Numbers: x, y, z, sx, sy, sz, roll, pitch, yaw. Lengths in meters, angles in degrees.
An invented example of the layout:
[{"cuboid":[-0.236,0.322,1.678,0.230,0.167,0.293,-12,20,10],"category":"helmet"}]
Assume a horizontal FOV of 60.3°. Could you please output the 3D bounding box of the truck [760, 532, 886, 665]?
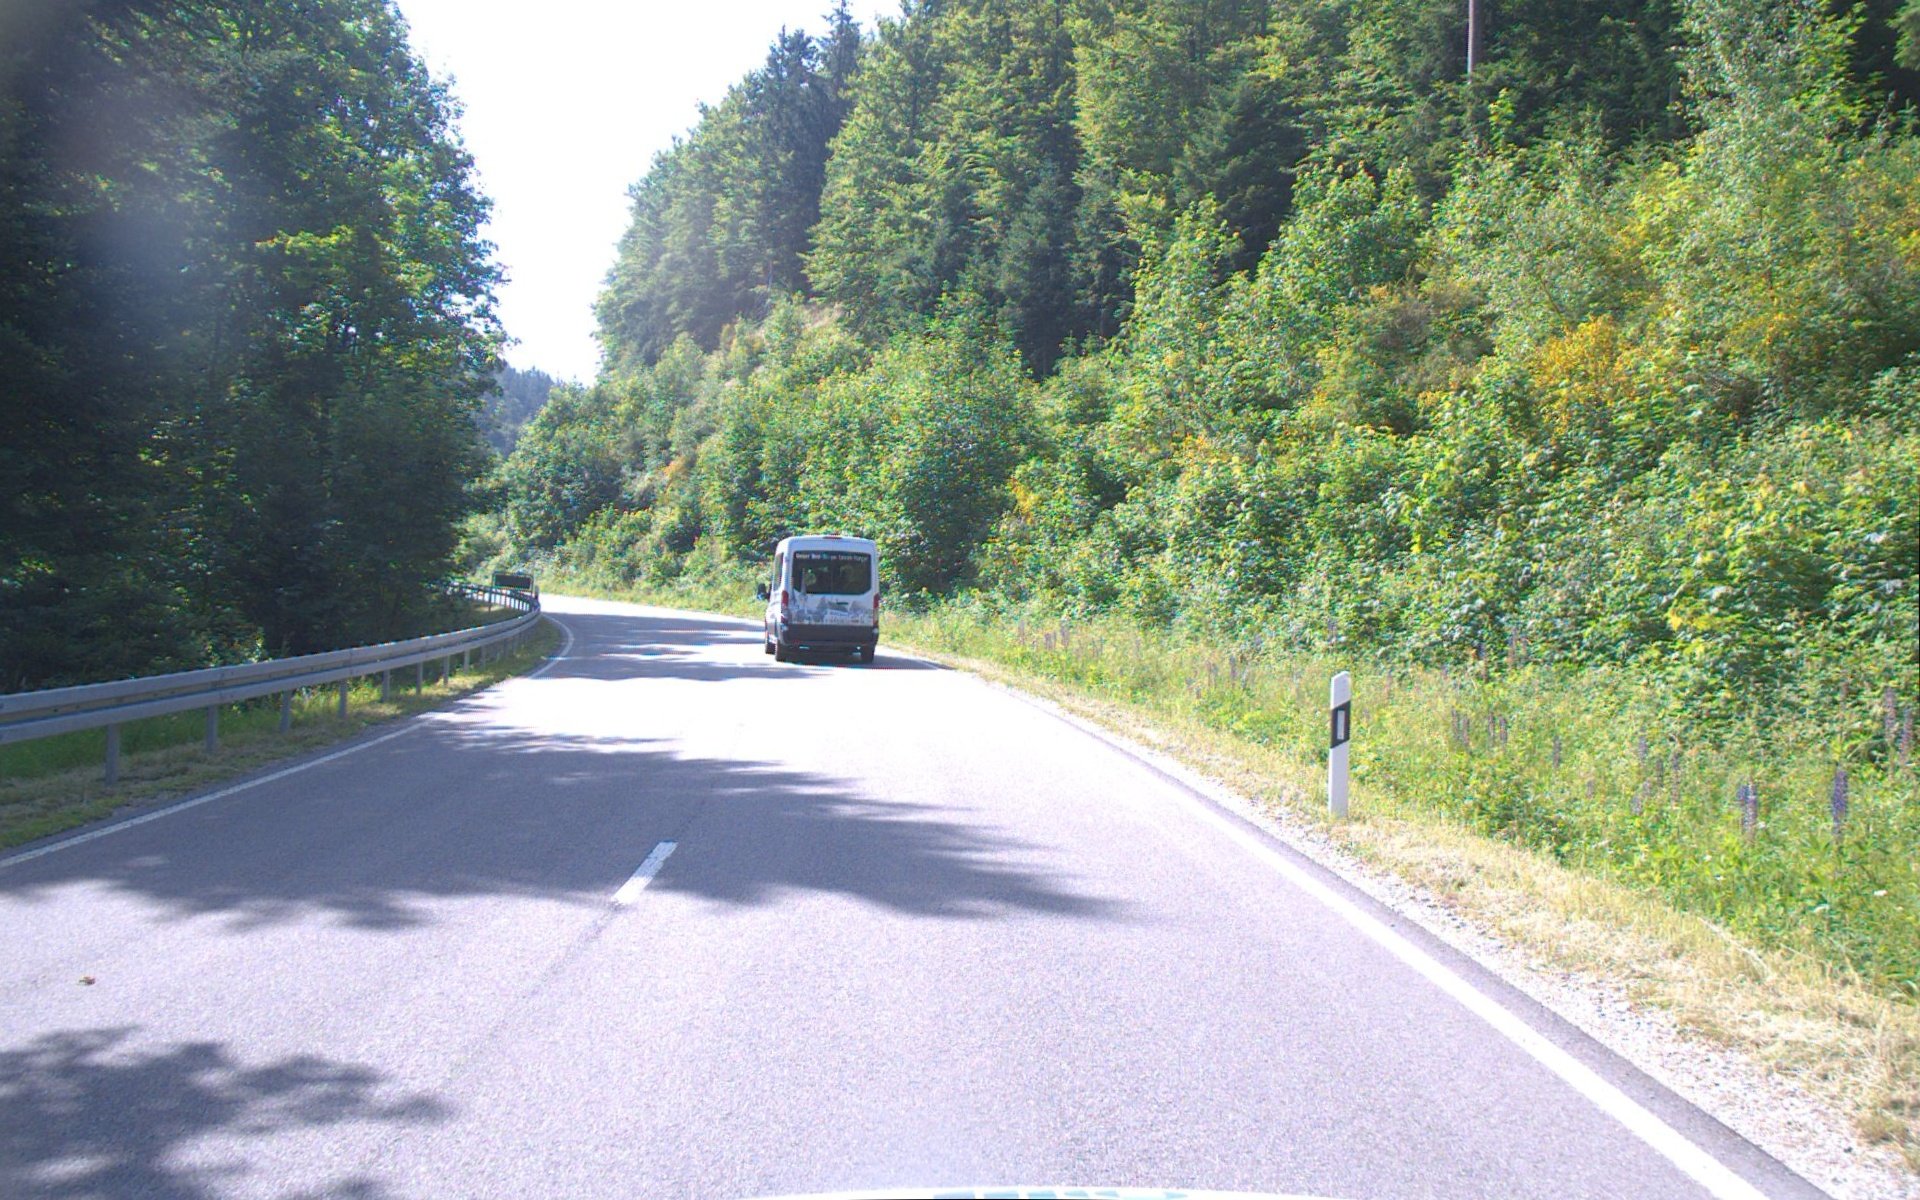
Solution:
[{"cuboid":[-2.949,-0.070,34.487,2.077,2.542,5.346,0,1,-11],"category":"truck"}]
